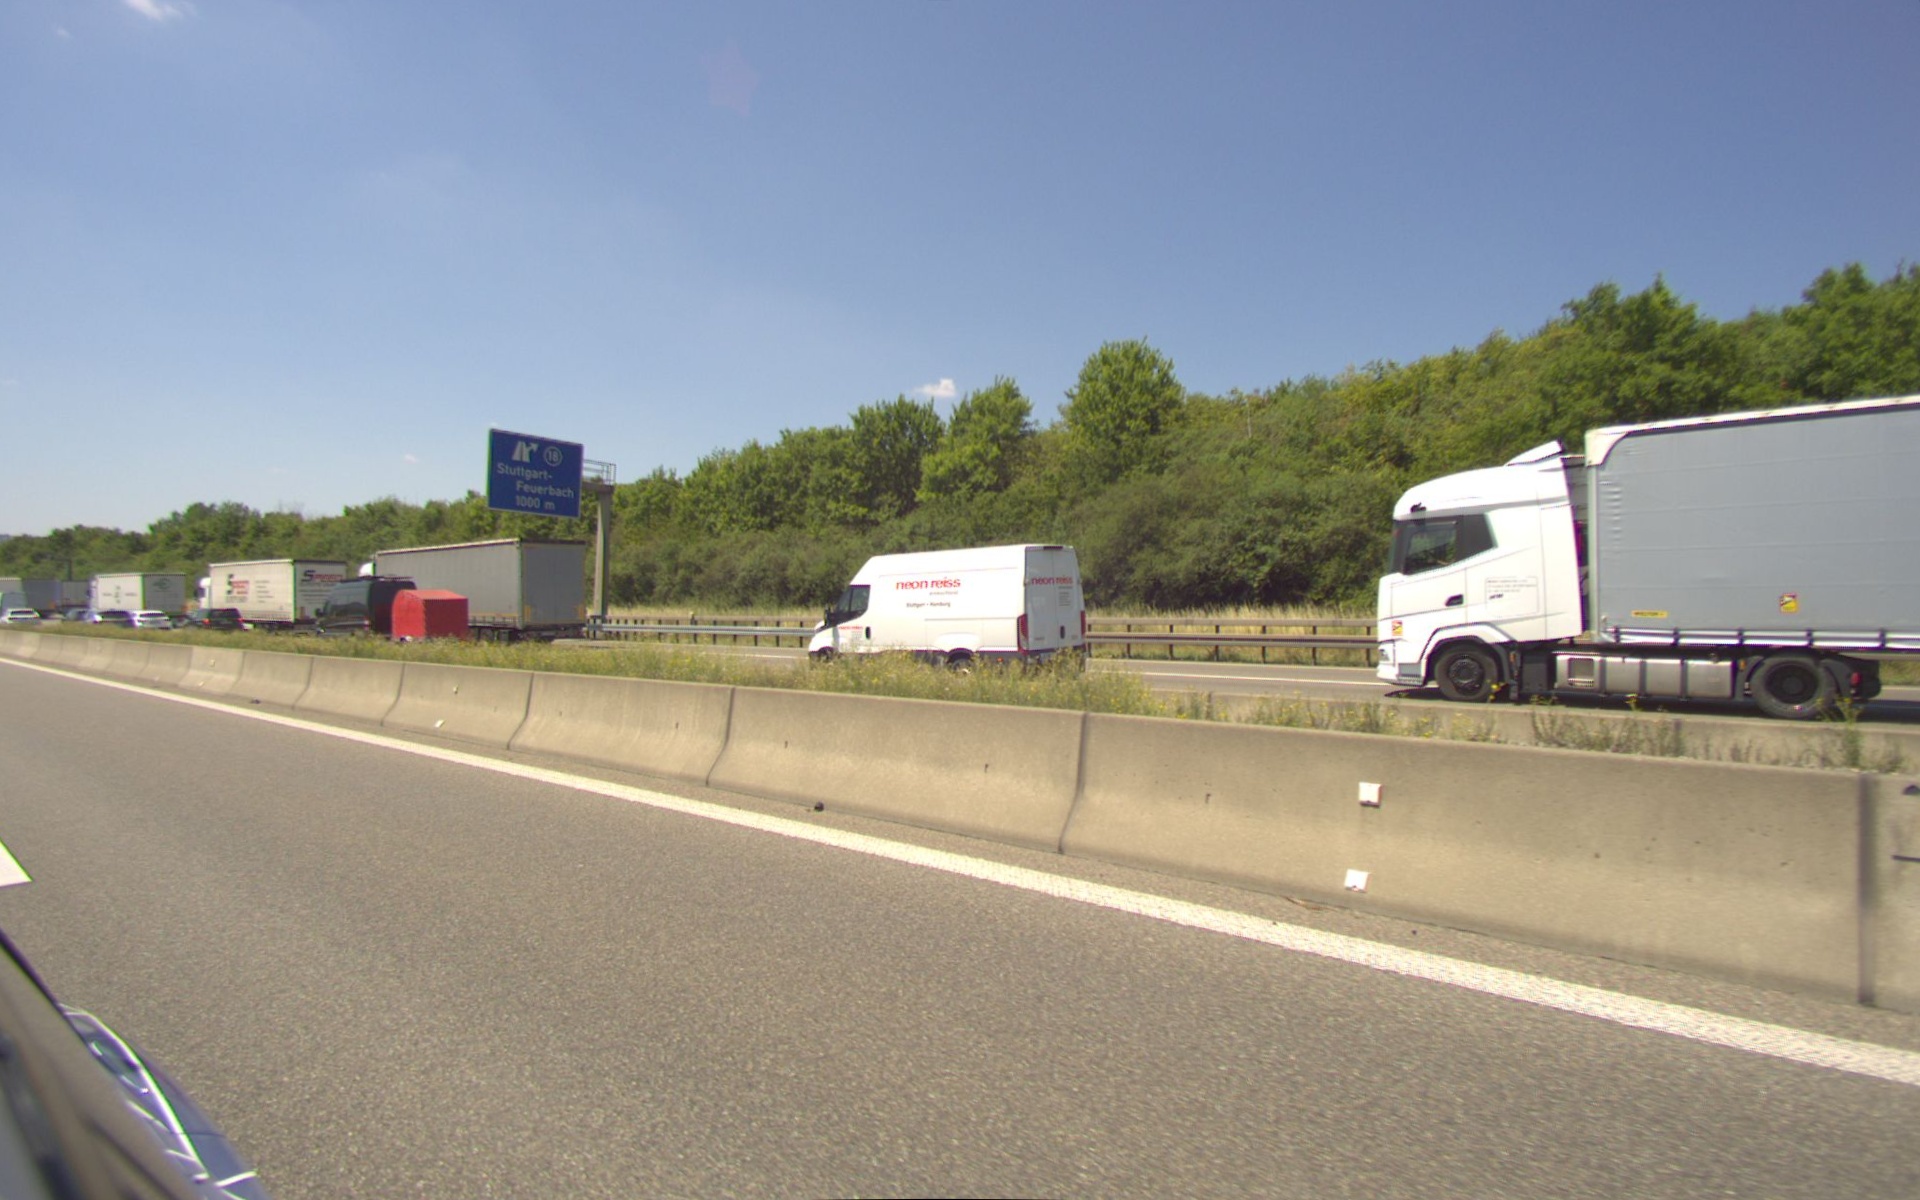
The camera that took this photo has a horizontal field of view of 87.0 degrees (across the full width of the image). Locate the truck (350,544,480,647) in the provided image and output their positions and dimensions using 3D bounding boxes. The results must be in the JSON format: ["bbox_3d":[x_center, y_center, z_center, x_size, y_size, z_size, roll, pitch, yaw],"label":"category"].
[{"bbox_3d":[-24.282,-0.204,44.954,6.601,4.241,2.931,0,0,41],"label":"truck"}]

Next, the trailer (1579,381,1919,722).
[{"bbox_3d":[15.253,-0.626,10.821,14.441,4.117,2.871,-1,-1,42],"label":"trailer"}]

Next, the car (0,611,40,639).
[{"bbox_3d":[-60.917,1.603,65.066,4.401,1.656,1.974,1,0,39],"label":"car"}]

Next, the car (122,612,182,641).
[{"bbox_3d":[-46.990,1.505,58.808,4.402,1.485,1.862,1,0,39],"label":"car"}]

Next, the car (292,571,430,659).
[{"bbox_3d":[-22.476,0.576,37.842,6.542,3.037,2.215,-1,-1,38],"label":"car"}]

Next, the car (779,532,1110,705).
[{"bbox_3d":[-0.521,0.247,19.347,6.621,2.807,2.117,1,1,41],"label":"car"}]

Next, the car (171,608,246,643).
[{"bbox_3d":[-38.322,1.260,51.590,4.787,1.728,1.974,0,0,39],"label":"car"}]

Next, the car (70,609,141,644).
[{"bbox_3d":[-43.018,1.309,50.911,4.792,1.701,1.912,-1,-1,40],"label":"car"}]

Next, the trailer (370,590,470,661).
[{"bbox_3d":[-18.455,0.866,34.545,3.956,2.270,1.554,-1,-1,38],"label":"trailer"}]

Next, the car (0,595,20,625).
[{"bbox_3d":[-84.157,0.843,88.500,7.564,2.593,1.879,0,0,39],"label":"car"}]

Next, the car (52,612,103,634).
[{"bbox_3d":[-62.223,1.623,71.321,4.919,1.445,1.858,0,0,39],"label":"car"}]

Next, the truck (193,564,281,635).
[{"bbox_3d":[-43.459,-0.018,60.757,6.092,4.073,2.728,-1,0,39],"label":"truck"}]

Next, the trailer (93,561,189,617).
[{"bbox_3d":[-61.655,-0.737,75.985,13.862,3.902,2.874,0,0,39],"label":"trailer"}]

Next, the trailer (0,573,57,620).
[{"bbox_3d":[-94.616,-0.335,101.780,13.760,4.454,3.191,0,0,38],"label":"trailer"}]

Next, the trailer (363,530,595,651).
[{"bbox_3d":[-19.949,-0.322,41.153,14.183,4.238,2.952,0,0,40],"label":"trailer"}]

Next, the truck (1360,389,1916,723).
[{"bbox_3d":[9.998,-0.486,15.546,6.601,4.067,2.823,-1,-1,41],"label":"truck"}]

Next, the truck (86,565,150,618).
[{"bbox_3d":[-66.634,-0.679,80.063,5.968,4.037,2.820,0,0,39],"label":"truck"}]

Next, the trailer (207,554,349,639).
[{"bbox_3d":[-38.481,-0.158,56.752,13.855,4.310,2.783,-1,0,40],"label":"trailer"}]
